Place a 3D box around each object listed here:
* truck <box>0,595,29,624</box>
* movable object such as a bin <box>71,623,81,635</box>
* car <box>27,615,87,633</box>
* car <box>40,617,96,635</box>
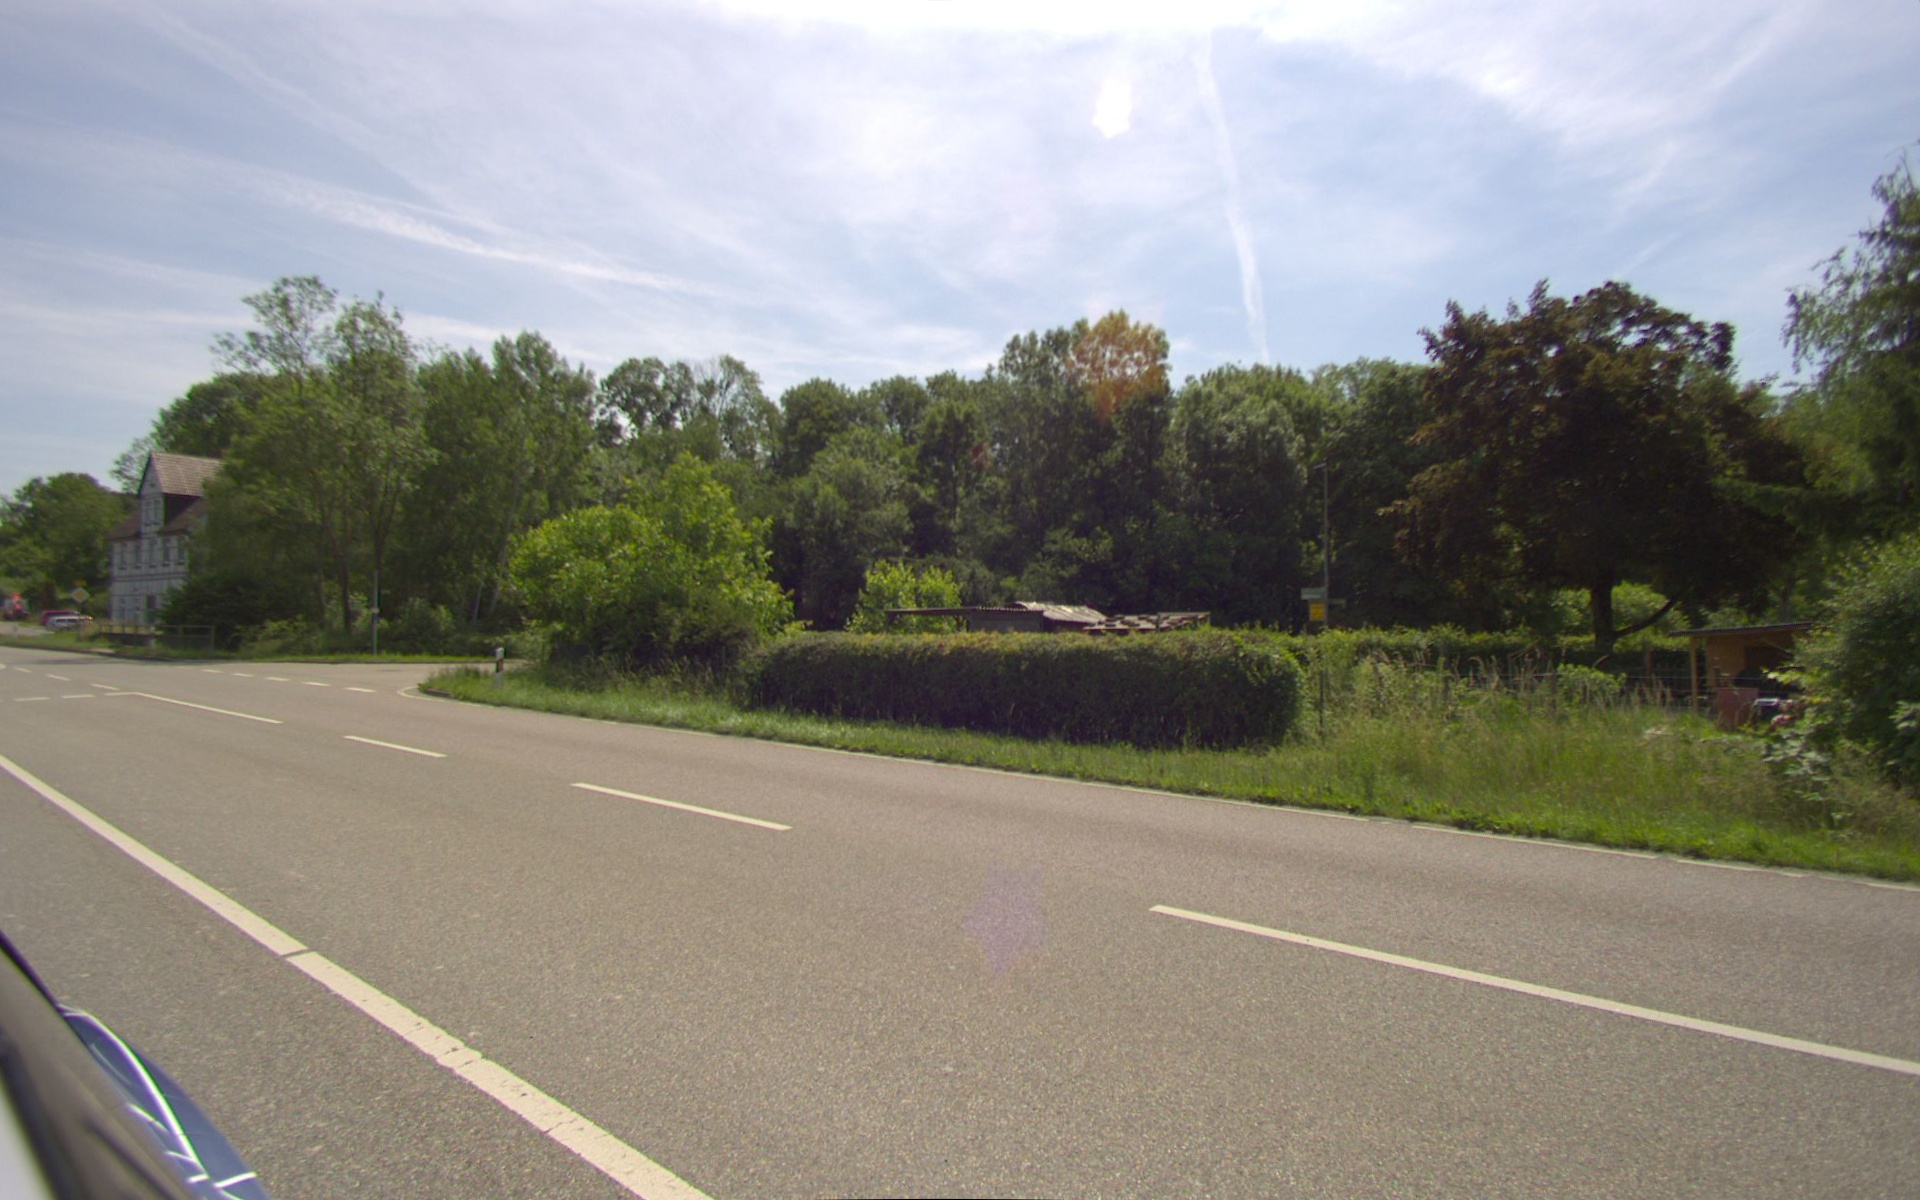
[{"bbox_3d":[-101.605,0.986,108.346,6.769,2.986,2.006,1,1,40],"label":"truck"},{"bbox_3d":[-75.555,2.481,86.519,0.652,0.978,0.499,1,0,32],"label":"movable object such as a bin"},{"bbox_3d":[-84.951,2.244,95.262,1.832,1.631,3.986,1,0,40],"label":"car"},{"bbox_3d":[-77.742,2.243,88.214,1.606,1.476,3.350,0,0,33],"label":"car"}]
